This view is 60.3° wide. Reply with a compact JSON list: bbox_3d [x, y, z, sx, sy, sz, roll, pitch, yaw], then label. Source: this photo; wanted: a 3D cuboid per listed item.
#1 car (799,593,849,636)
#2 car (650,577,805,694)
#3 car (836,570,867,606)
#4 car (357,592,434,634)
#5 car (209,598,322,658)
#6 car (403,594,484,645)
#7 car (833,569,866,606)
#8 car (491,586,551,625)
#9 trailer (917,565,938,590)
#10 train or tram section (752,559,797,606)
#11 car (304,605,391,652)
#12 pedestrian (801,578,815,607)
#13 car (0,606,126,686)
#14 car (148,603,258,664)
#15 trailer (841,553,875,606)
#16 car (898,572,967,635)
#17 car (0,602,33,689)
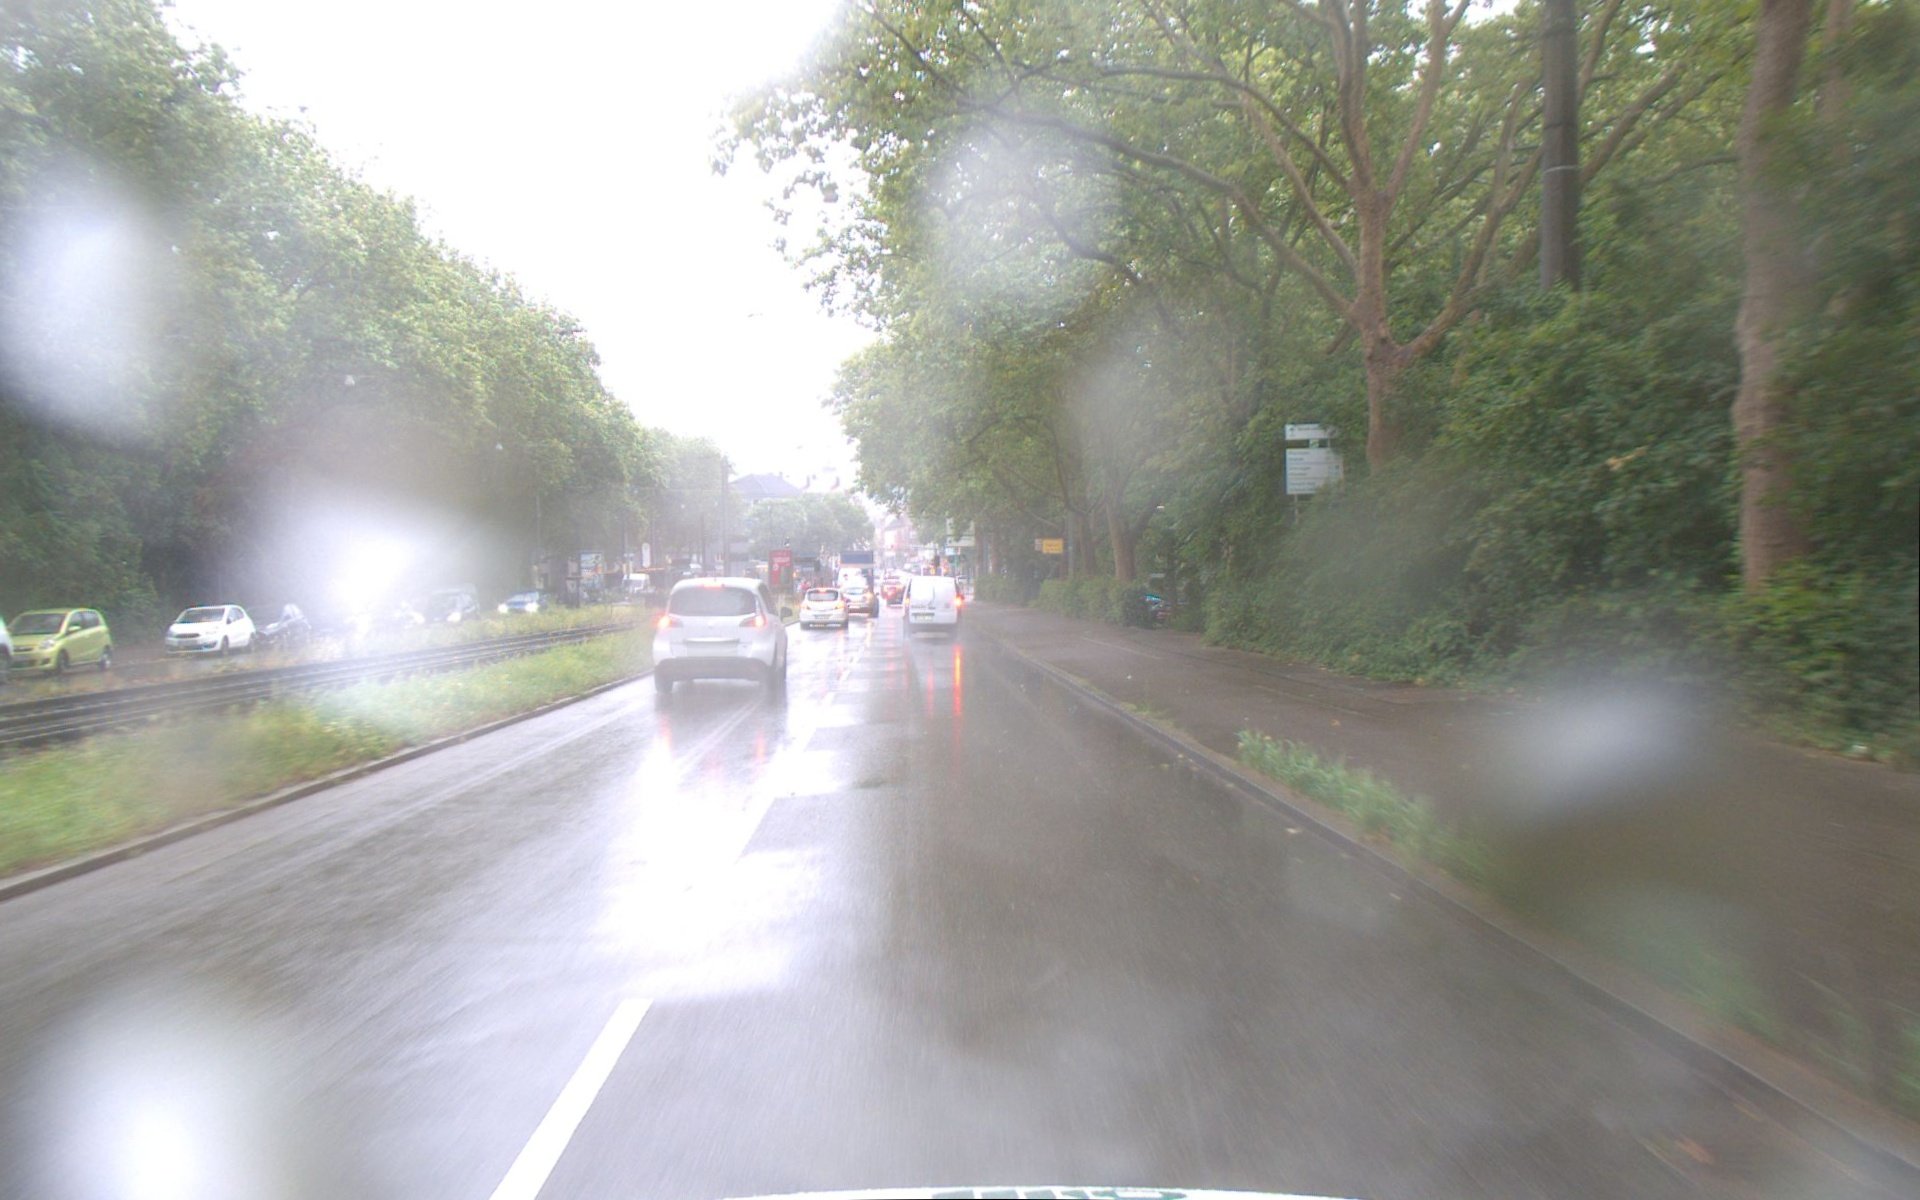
[{"bbox_3d":[-4.951,0.531,60.597,1.691,1.505,3.803,0,0,-3],"label":"car"},{"bbox_3d":[-3.474,0.497,25.455,1.827,1.652,4.262,0,0,-1],"label":"car"},{"bbox_3d":[-7.165,-0.776,109.719,1.954,2.302,5.285,0,0,-3],"label":"car"},{"bbox_3d":[-23.629,0.525,69.419,1.992,1.686,4.605,0,0,-5],"label":"car"},{"bbox_3d":[-22.681,0.871,54.203,1.992,1.781,4.689,-2,0,-5],"label":"car"},{"bbox_3d":[-19.289,0.696,61.960,1.992,1.781,4.255,-2,0,-5],"label":"car"},{"bbox_3d":[-7.869,-0.860,118.517,2.283,2.602,6.110,0,0,-3],"label":"car"},{"bbox_3d":[-21.502,0.249,81.115,1.992,1.781,4.689,-2,0,-5],"label":"car"},{"bbox_3d":[-3.239,-2.232,165.771,1.954,2.357,4.665,0,0,-4],"label":"trailer"},{"bbox_3d":[-14.083,-1.409,125.955,2.903,3.342,8.354,-2,1,-4],"label":"train or tram section"},{"bbox_3d":[-23.167,1.045,62.750,1.992,1.686,4.604,-1,0,-6],"label":"car"},{"bbox_3d":[-9.336,-0.462,101.445,0.775,1.744,0.770,1,-1,-4],"label":"pedestrian"},{"bbox_3d":[-21.004,1.027,38.253,1.727,1.677,3.809,-2,0,-5],"label":"car"},{"bbox_3d":[-22.362,0.953,48.992,1.727,1.677,3.809,-2,0,-5],"label":"car"},{"bbox_3d":[-7.931,-1.606,127.682,2.539,3.968,7.630,0,1,-4],"label":"trailer"},{"bbox_3d":[-0.862,0.116,49.247,1.920,1.808,3.567,0,0,-3],"label":"car"},{"bbox_3d":[-20.218,0.961,32.506,1.716,1.758,4.527,-2,0,-5],"label":"car"}]
